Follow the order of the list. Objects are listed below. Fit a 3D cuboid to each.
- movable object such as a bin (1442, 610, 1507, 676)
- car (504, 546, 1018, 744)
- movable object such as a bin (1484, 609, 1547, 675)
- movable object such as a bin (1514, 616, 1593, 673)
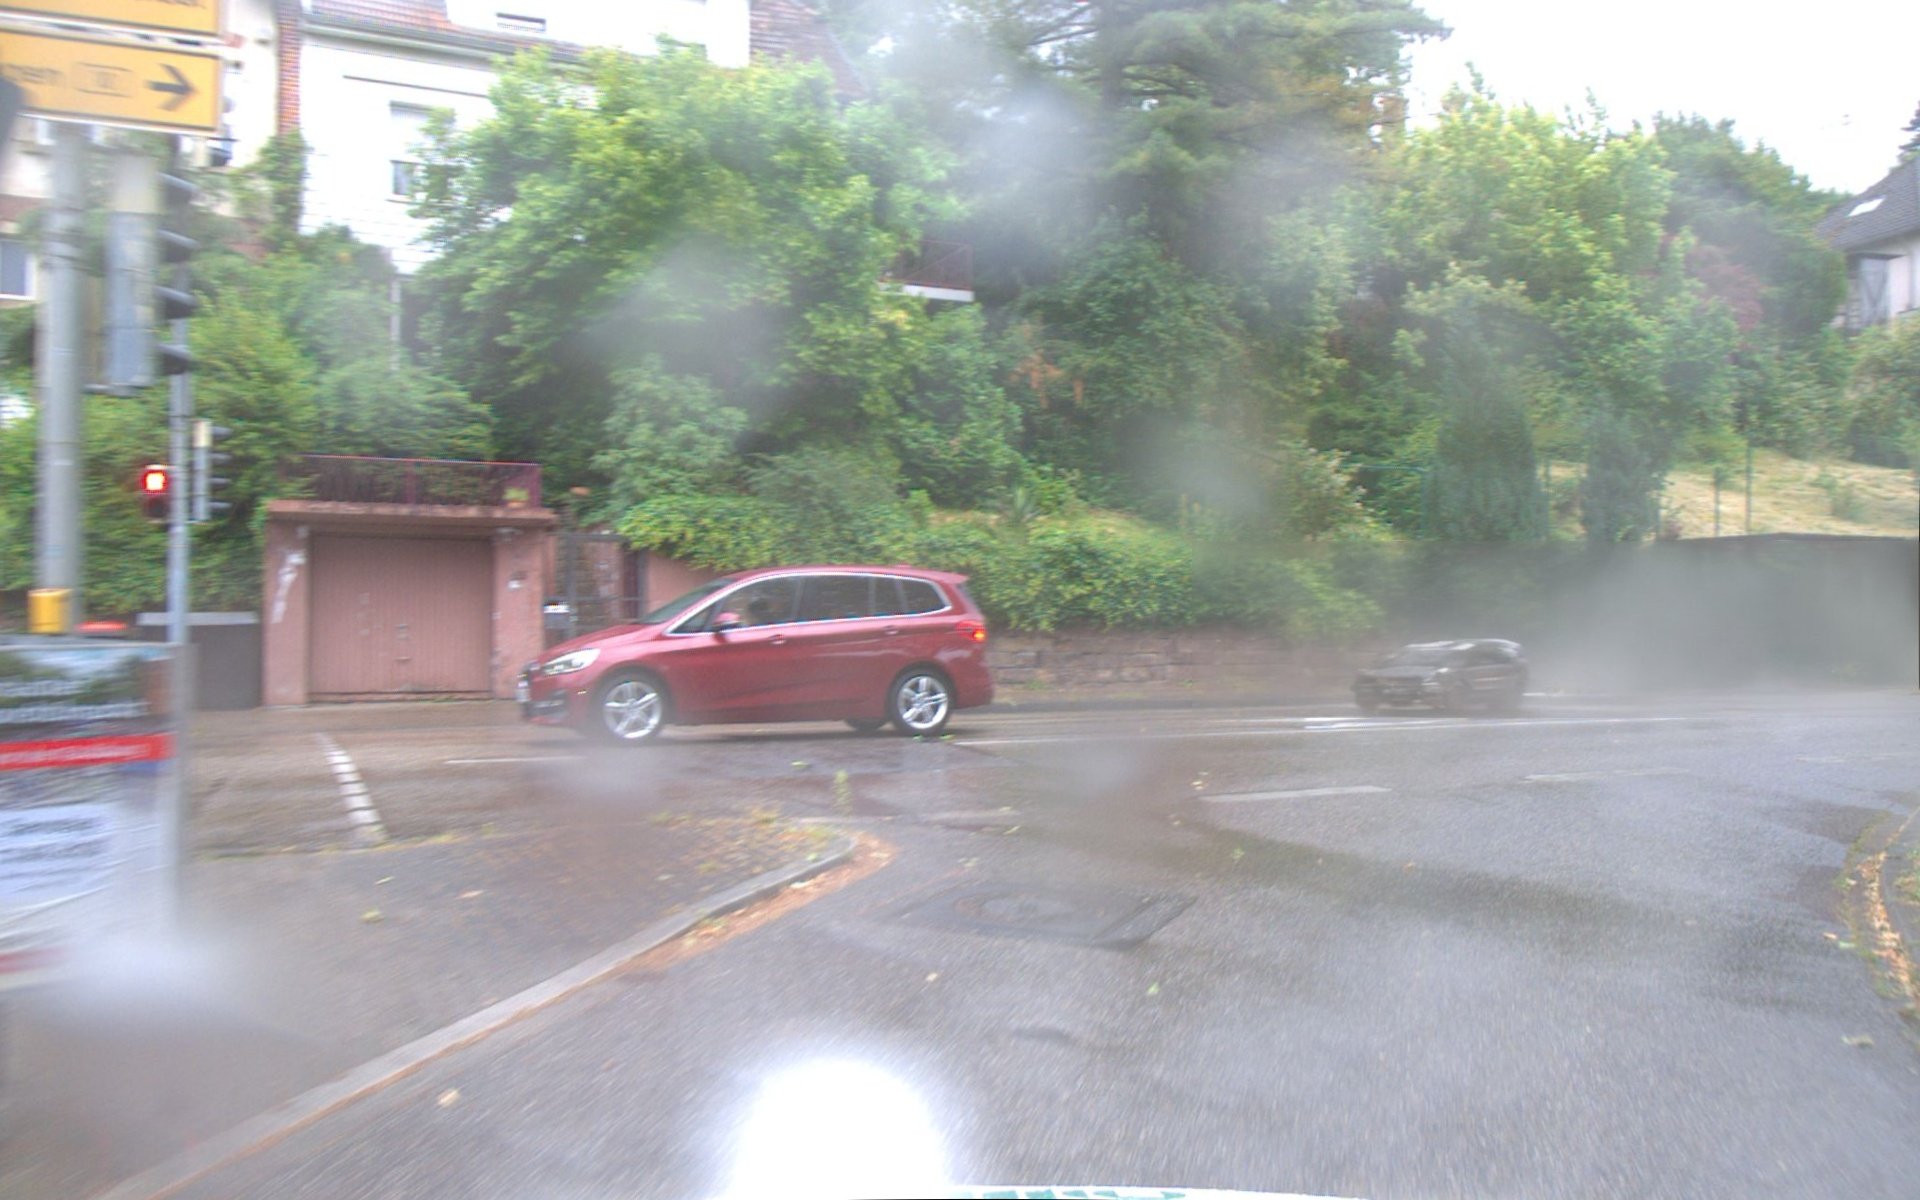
[{"bbox_3d":[8.553,0.707,27.506,0.741,1.079,0.684,0,-1,-24],"label":"movable object such as a bin"},{"bbox_3d":[-1.862,0.366,15.605,4.507,1.629,1.762,-1,-1,-23],"label":"car"},{"bbox_3d":[9.312,0.701,27.732,0.781,1.079,0.632,0,-1,-24],"label":"movable object such as a bin"},{"bbox_3d":[10.169,0.752,28.354,0.939,0.932,0.846,-1,-1,-25],"label":"movable object such as a bin"}]
